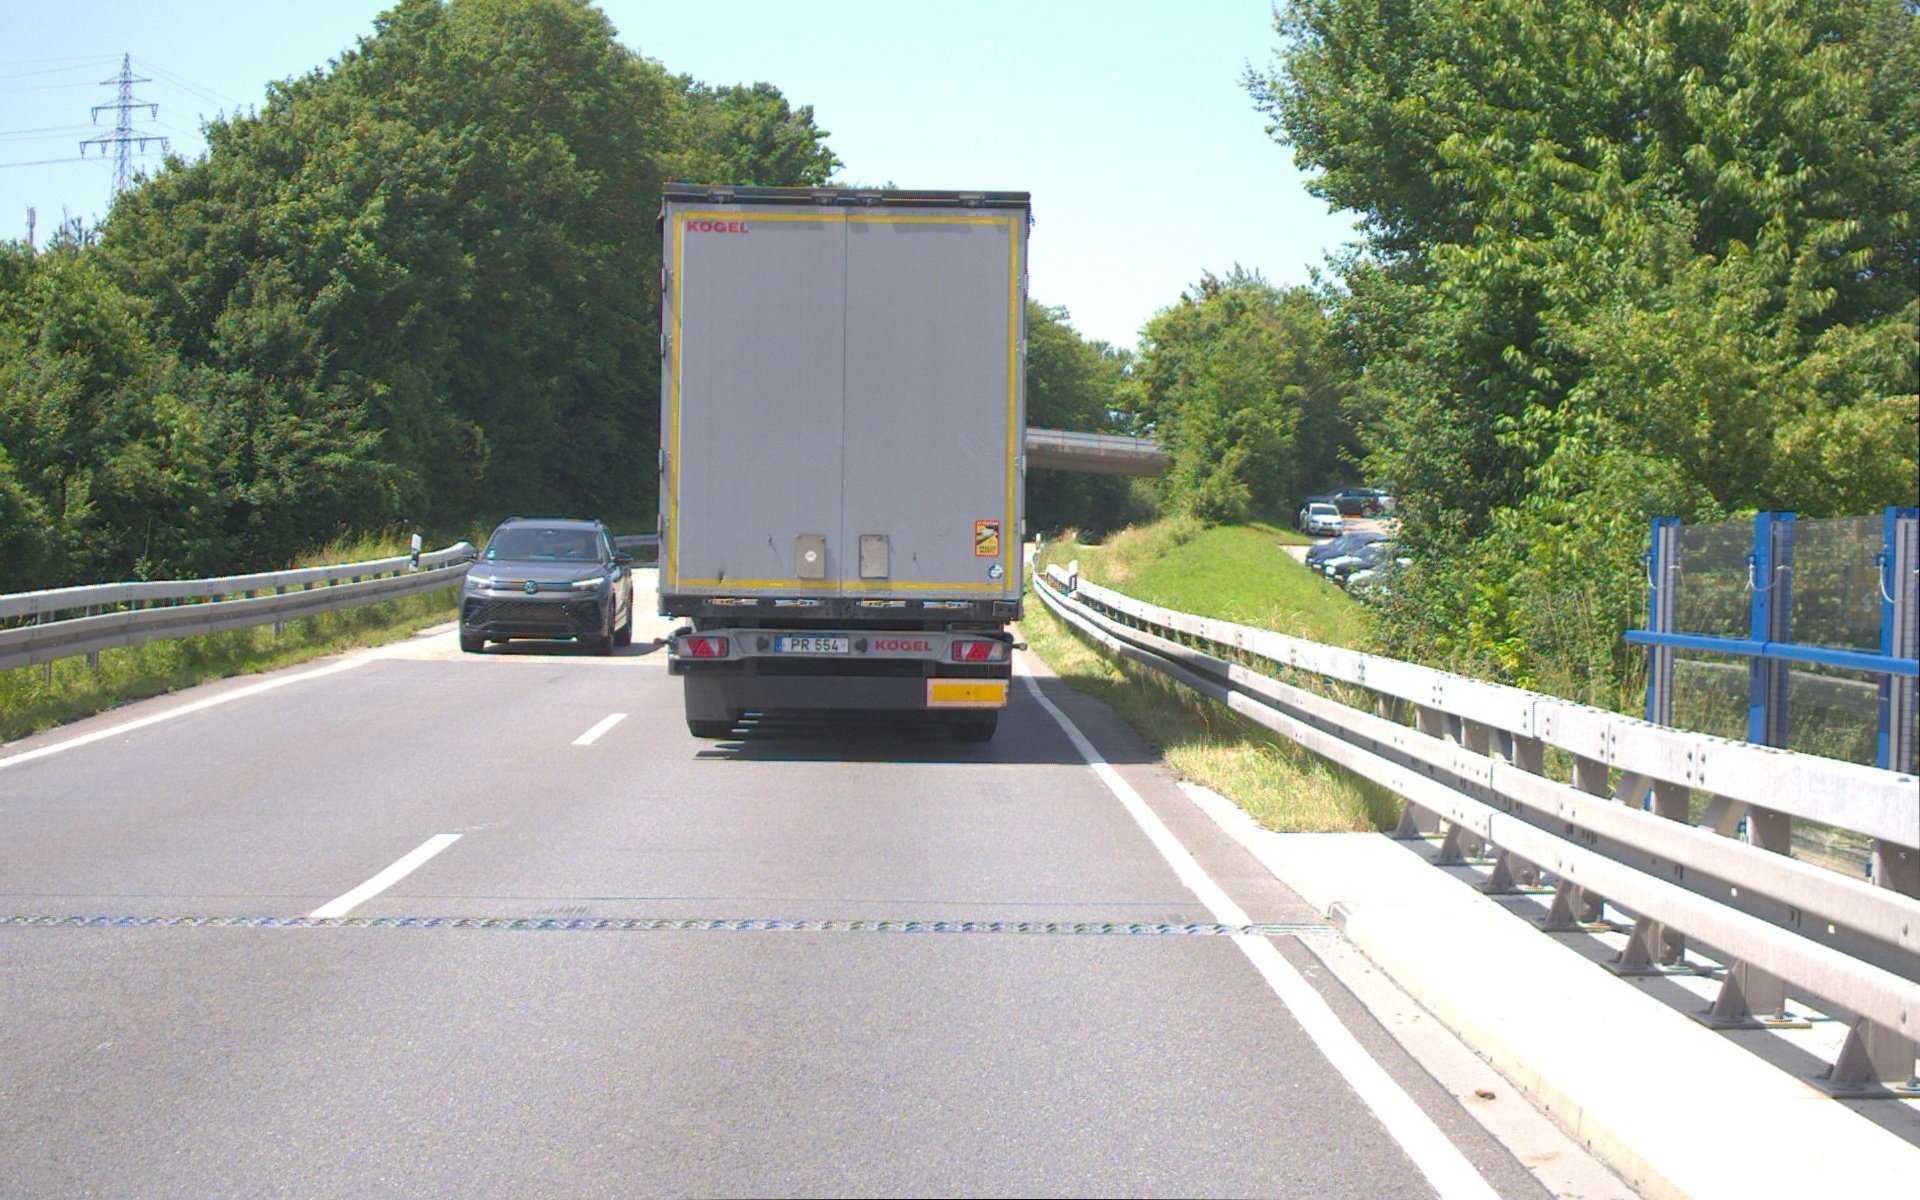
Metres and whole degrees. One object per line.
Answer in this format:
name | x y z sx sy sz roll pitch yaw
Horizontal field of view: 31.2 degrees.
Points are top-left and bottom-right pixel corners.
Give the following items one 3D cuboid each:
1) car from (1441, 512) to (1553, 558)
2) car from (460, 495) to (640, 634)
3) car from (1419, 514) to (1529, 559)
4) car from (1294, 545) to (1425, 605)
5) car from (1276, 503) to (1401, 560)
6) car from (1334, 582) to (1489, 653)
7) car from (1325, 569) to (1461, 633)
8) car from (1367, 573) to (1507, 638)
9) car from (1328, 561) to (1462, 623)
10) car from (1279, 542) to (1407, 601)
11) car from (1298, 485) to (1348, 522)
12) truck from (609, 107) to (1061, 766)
car | 24.263 -2.942 155.394 4.578 1.623 1.818 6 3 22
car | -5.076 -0.471 43.048 1.865 1.605 4.373 1 1 -2
car | 23.602 -2.929 157.849 4.578 1.623 1.818 7 4 22
car | 14.976 -0.944 128.862 4.362 1.679 1.889 5 5 -27
car | 14.804 -2.672 134.415 4.362 1.679 1.889 5 5 -27
car | 14.514 0.558 110.516 4.361 1.679 1.889 6 4 -20
car | 14.957 0.040 118.745 4.363 1.679 1.889 4 5 -35
car | 15.982 0.181 115.118 4.363 1.679 1.889 4 5 -35
car | 15.321 -0.281 121.113 4.363 1.679 1.889 4 5 -35
car | 14.669 -1.103 131.501 4.362 1.679 1.889 5 5 -27
car | 16.892 -4.516 160.072 1.624 1.348 3.712 7 4 -3
truck | -0.941 -1.286 28.349 2.866 4.344 9.790 3 2 -1
